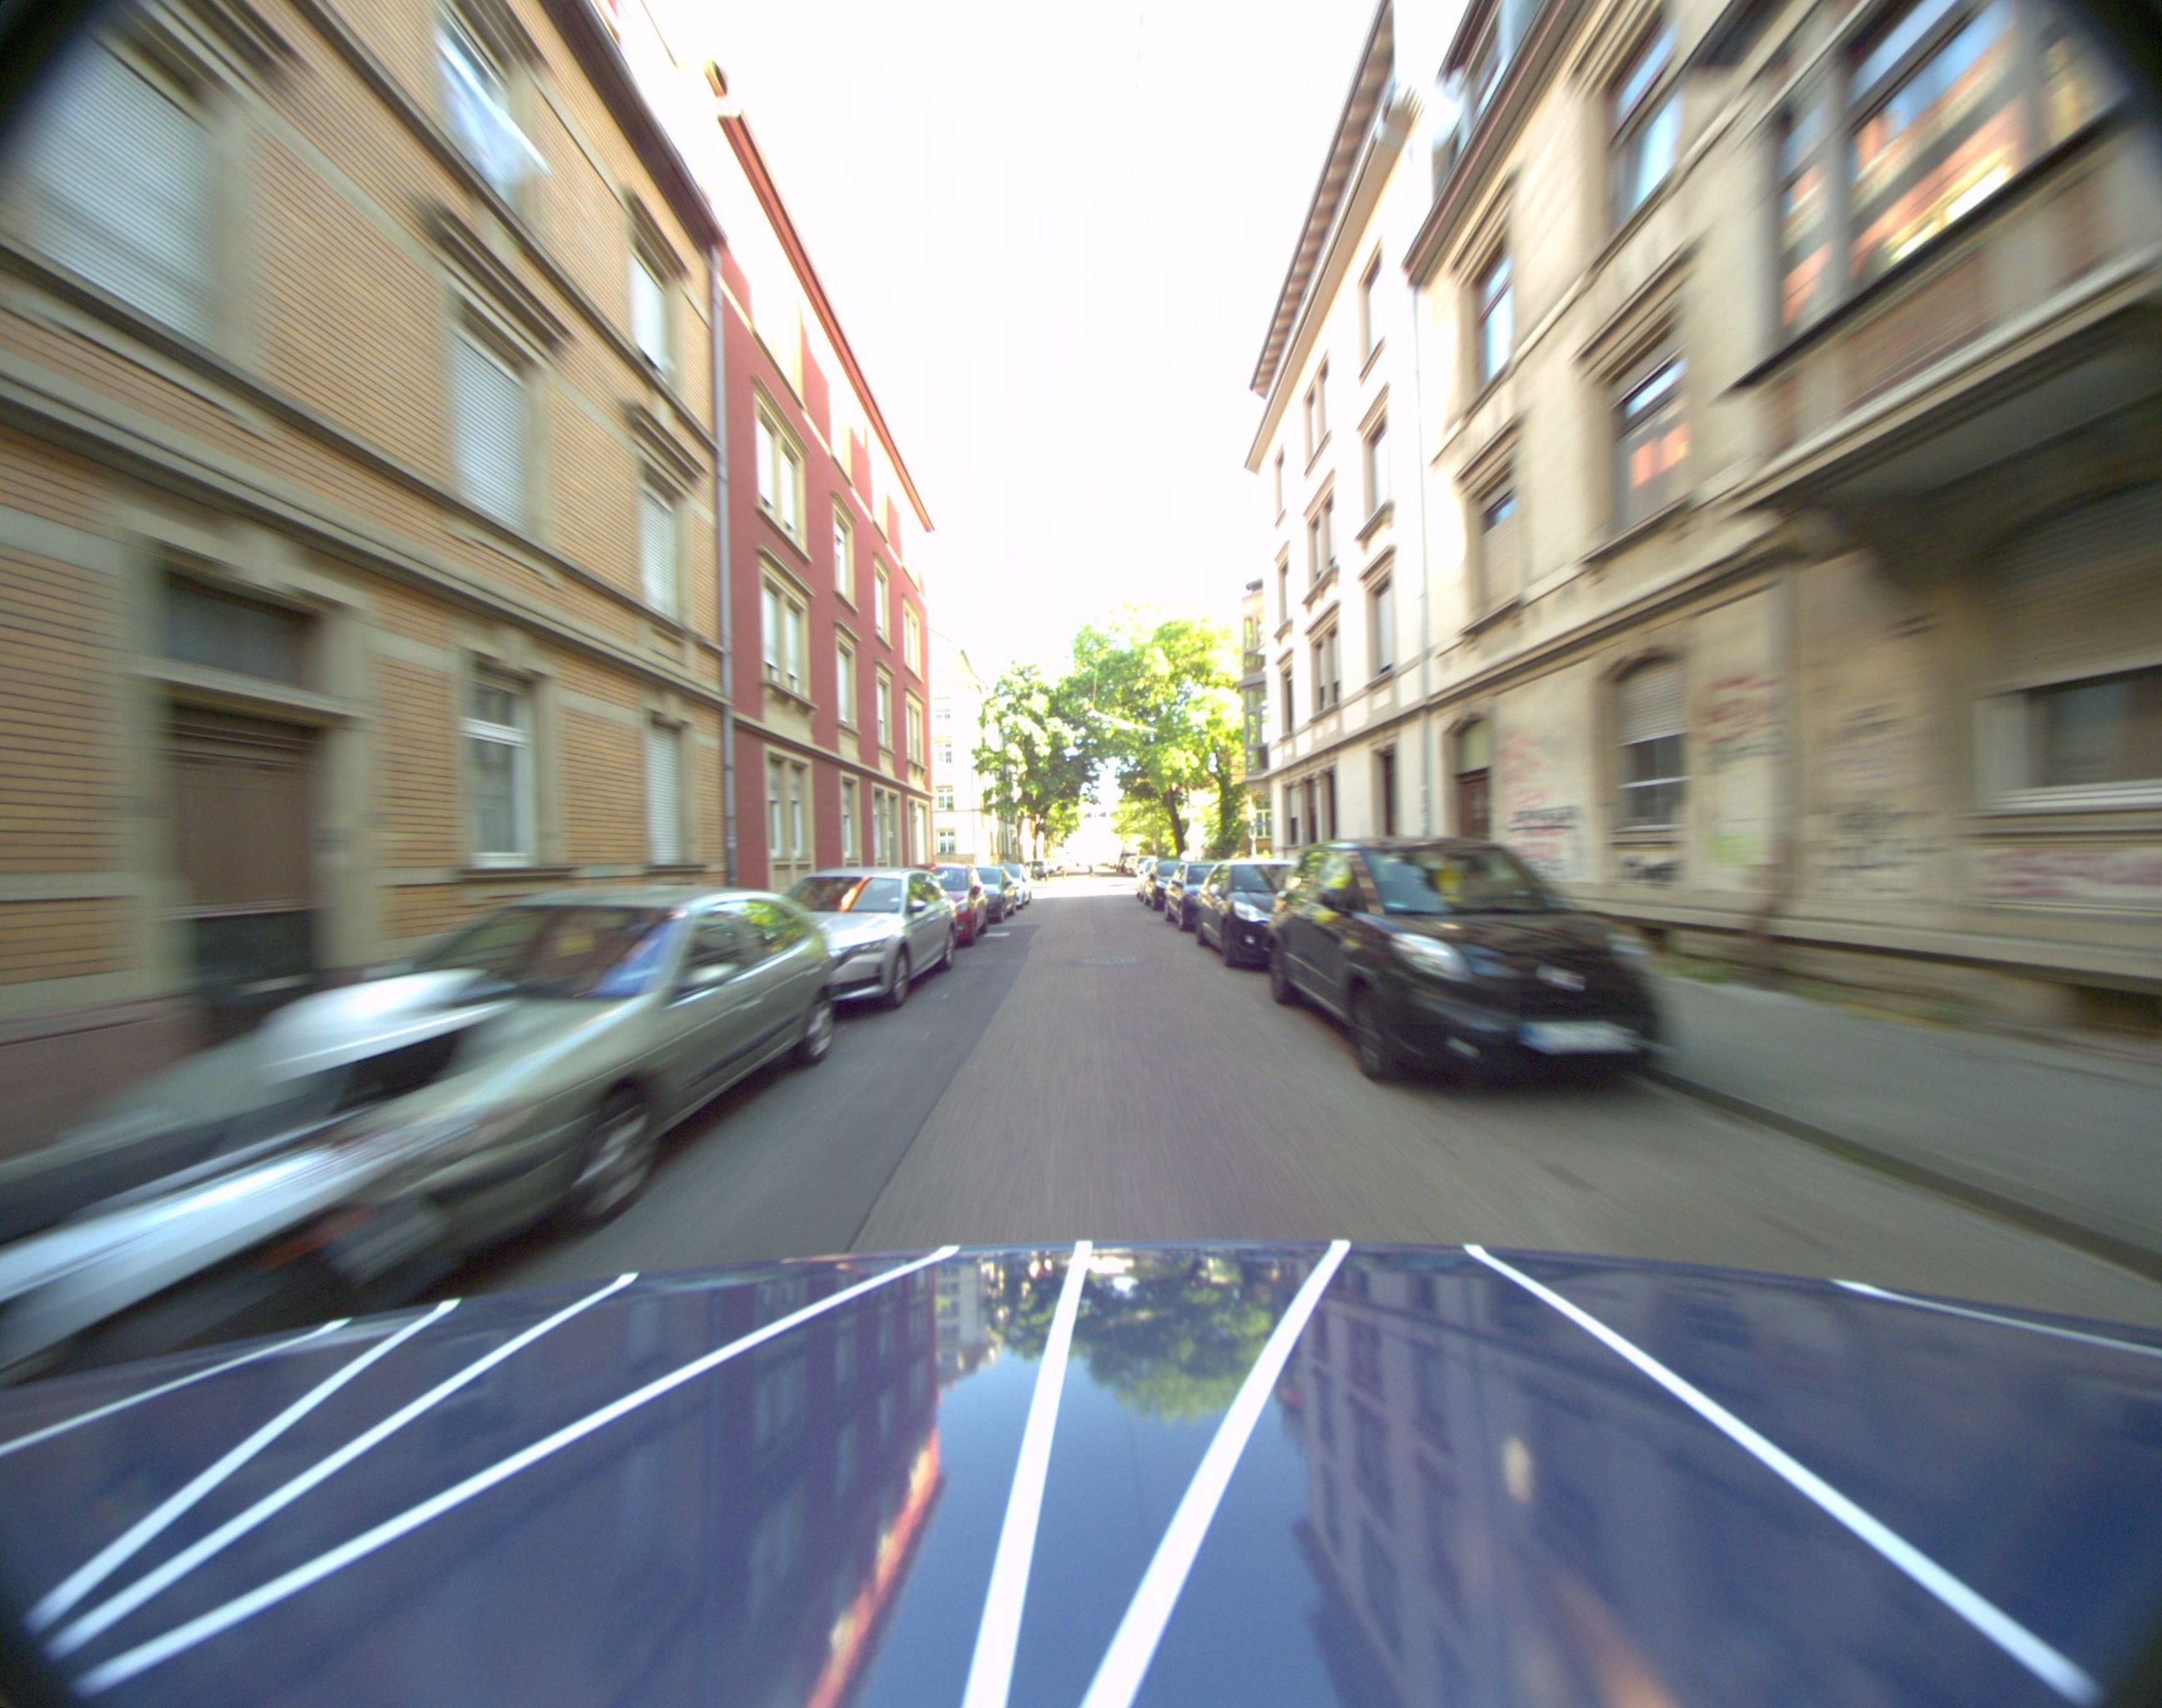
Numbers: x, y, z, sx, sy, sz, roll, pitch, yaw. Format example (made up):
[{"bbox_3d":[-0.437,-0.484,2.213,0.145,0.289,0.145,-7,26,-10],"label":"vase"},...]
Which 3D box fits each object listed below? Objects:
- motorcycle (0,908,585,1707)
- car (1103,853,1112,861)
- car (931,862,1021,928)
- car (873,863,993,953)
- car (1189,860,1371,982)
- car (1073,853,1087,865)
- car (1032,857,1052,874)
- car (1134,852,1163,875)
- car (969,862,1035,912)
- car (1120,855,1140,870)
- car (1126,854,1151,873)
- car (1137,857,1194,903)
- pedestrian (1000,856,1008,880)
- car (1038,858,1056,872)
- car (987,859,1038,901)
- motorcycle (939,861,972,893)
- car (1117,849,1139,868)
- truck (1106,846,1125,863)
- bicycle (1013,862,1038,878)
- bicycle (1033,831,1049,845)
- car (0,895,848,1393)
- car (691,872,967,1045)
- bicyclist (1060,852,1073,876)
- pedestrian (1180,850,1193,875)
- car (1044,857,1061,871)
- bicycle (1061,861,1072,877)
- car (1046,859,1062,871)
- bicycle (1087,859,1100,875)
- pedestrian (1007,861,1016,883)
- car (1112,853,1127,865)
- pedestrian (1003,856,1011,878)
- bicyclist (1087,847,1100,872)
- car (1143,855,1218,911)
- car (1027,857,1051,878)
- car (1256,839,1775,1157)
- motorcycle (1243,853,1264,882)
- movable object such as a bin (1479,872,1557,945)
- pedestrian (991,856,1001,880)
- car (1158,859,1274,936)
[{"bbox_3d":[-2.590,1.001,1.753,2.229,1.527,0.888,-4,0,-25],"label":"motorcycle"},{"bbox_3d":[5.328,0.572,154.400,1.597,1.557,4.000,-1,0,0],"label":"car"},{"bbox_3d":[-2.637,1.000,19.971,1.681,1.494,4.069,-1,0,1],"label":"car"},{"bbox_3d":[-2.776,0.951,15.113,1.663,1.471,4.024,-1,0,-1],"label":"car"},{"bbox_3d":[2.719,0.836,11.238,1.647,1.447,3.839,1,0,0],"label":"car"},{"bbox_3d":[-0.171,0.797,129.277,2.146,2.002,4.863,-2,0,1],"label":"car"},{"bbox_3d":[-3.766,1.108,74.597,1.639,1.523,4.000,-2,0,1],"label":"car"},{"bbox_3d":[4.779,0.647,54.042,1.710,1.549,3.952,2,1,0],"label":"car"},{"bbox_3d":[-2.569,1.043,25.574,1.709,1.454,3.970,-2,0,1],"label":"car"},{"bbox_3d":[4.788,0.789,74.301,1.731,1.455,3.844,0,0,1],"label":"car"},{"bbox_3d":[4.811,0.765,64.106,1.793,1.524,4.000,2,0,-1],"label":"car"},{"bbox_3d":[2.974,0.884,27.519,1.785,1.474,3.933,-1,0,3],"label":"car"},{"bbox_3d":[-5.549,0.987,54.801,0.520,1.708,0.516,-2,1,-1],"label":"pedestrian"},{"bbox_3d":[-3.563,1.150,80.371,1.651,1.433,4.000,-2,0,1],"label":"car"},{"bbox_3d":[-2.664,0.972,30.095,1.672,1.474,3.706,-2,0,0],"label":"car"},{"bbox_3d":[-6.284,1.130,38.203,0.873,1.516,2.625,-1,-1,9],"label":"motorcycle"},{"bbox_3d":[4.902,0.473,79.782,1.998,1.946,5.042,1,0,1],"label":"car"},{"bbox_3d":[5.367,0.064,118.394,2.395,2.641,7.092,-1,0,-1],"label":"truck"},{"bbox_3d":[-4.029,1.180,55.414,1.795,1.155,0.434,0,1,16],"label":"bicycle"},{"bbox_3d":[-3.743,-1.463,70.687,1.414,1.188,0.336,-3,1,-2],"label":"bicycle"},{"bbox_3d":[-2.887,1.062,4.473,1.696,1.398,3.992,-1,0,1],"label":"car"},{"bbox_3d":[-2.670,1.024,9.245,1.766,1.475,4.402,-1,0,1],"label":"car"},{"bbox_3d":[-1.118,0.746,58.189,0.934,1.809,1.078,-2,0,1],"label":"bicyclist"},{"bbox_3d":[7.347,0.567,52.989,0.804,1.736,1.006,-1,1,1],"label":"pedestrian"},{"bbox_3d":[-3.339,1.188,89.393,1.824,1.521,4.000,-2,0,1],"label":"car"},{"bbox_3d":[-1.109,1.108,58.194,0.810,1.136,2.547,-1,0,0],"label":"bicycle"},{"bbox_3d":[-3.345,1.351,94.179,1.812,1.412,4.000,-2,0,1],"label":"car"},{"bbox_3d":[0.961,0.996,58.255,0.985,1.136,2.547,-1,0,0],"label":"bicycle"},{"bbox_3d":[-6.077,1.577,66.102,0.706,1.834,0.840,-2,0,-5],"label":"pedestrian"},{"bbox_3d":[5.066,0.674,100.614,1.755,1.464,4.000,-3,0,1],"label":"car"},{"bbox_3d":[-6.306,1.116,64.923,0.529,1.834,0.707,-1,1,2],"label":"pedestrian"},{"bbox_3d":[0.934,0.420,58.206,0.967,1.904,1.139,-1,0,1],"label":"bicyclist"},{"bbox_3d":[2.876,0.807,22.632,1.785,1.474,3.743,-2,0,1],"label":"car"},{"bbox_3d":[-3.294,1.047,60.422,1.685,1.531,4.134,0,0,0],"label":"car"},{"bbox_3d":[2.716,0.748,6.010,1.765,1.608,4.189,-1,0,1],"label":"car"},{"bbox_3d":[7.717,0.584,33.978,0.612,1.190,2.046,-1,1,20],"label":"motorcycle"},{"bbox_3d":[5.862,0.721,10.233,0.614,0.915,0.734,-2,1,0],"label":"movable object such as a bin"},{"bbox_3d":[-6.149,0.992,54.947,0.624,1.675,0.818,-2,0,0],"label":"pedestrian"},{"bbox_3d":[2.780,0.848,16.436,1.786,1.395,3.742,-2,0,-1],"label":"car"}]
